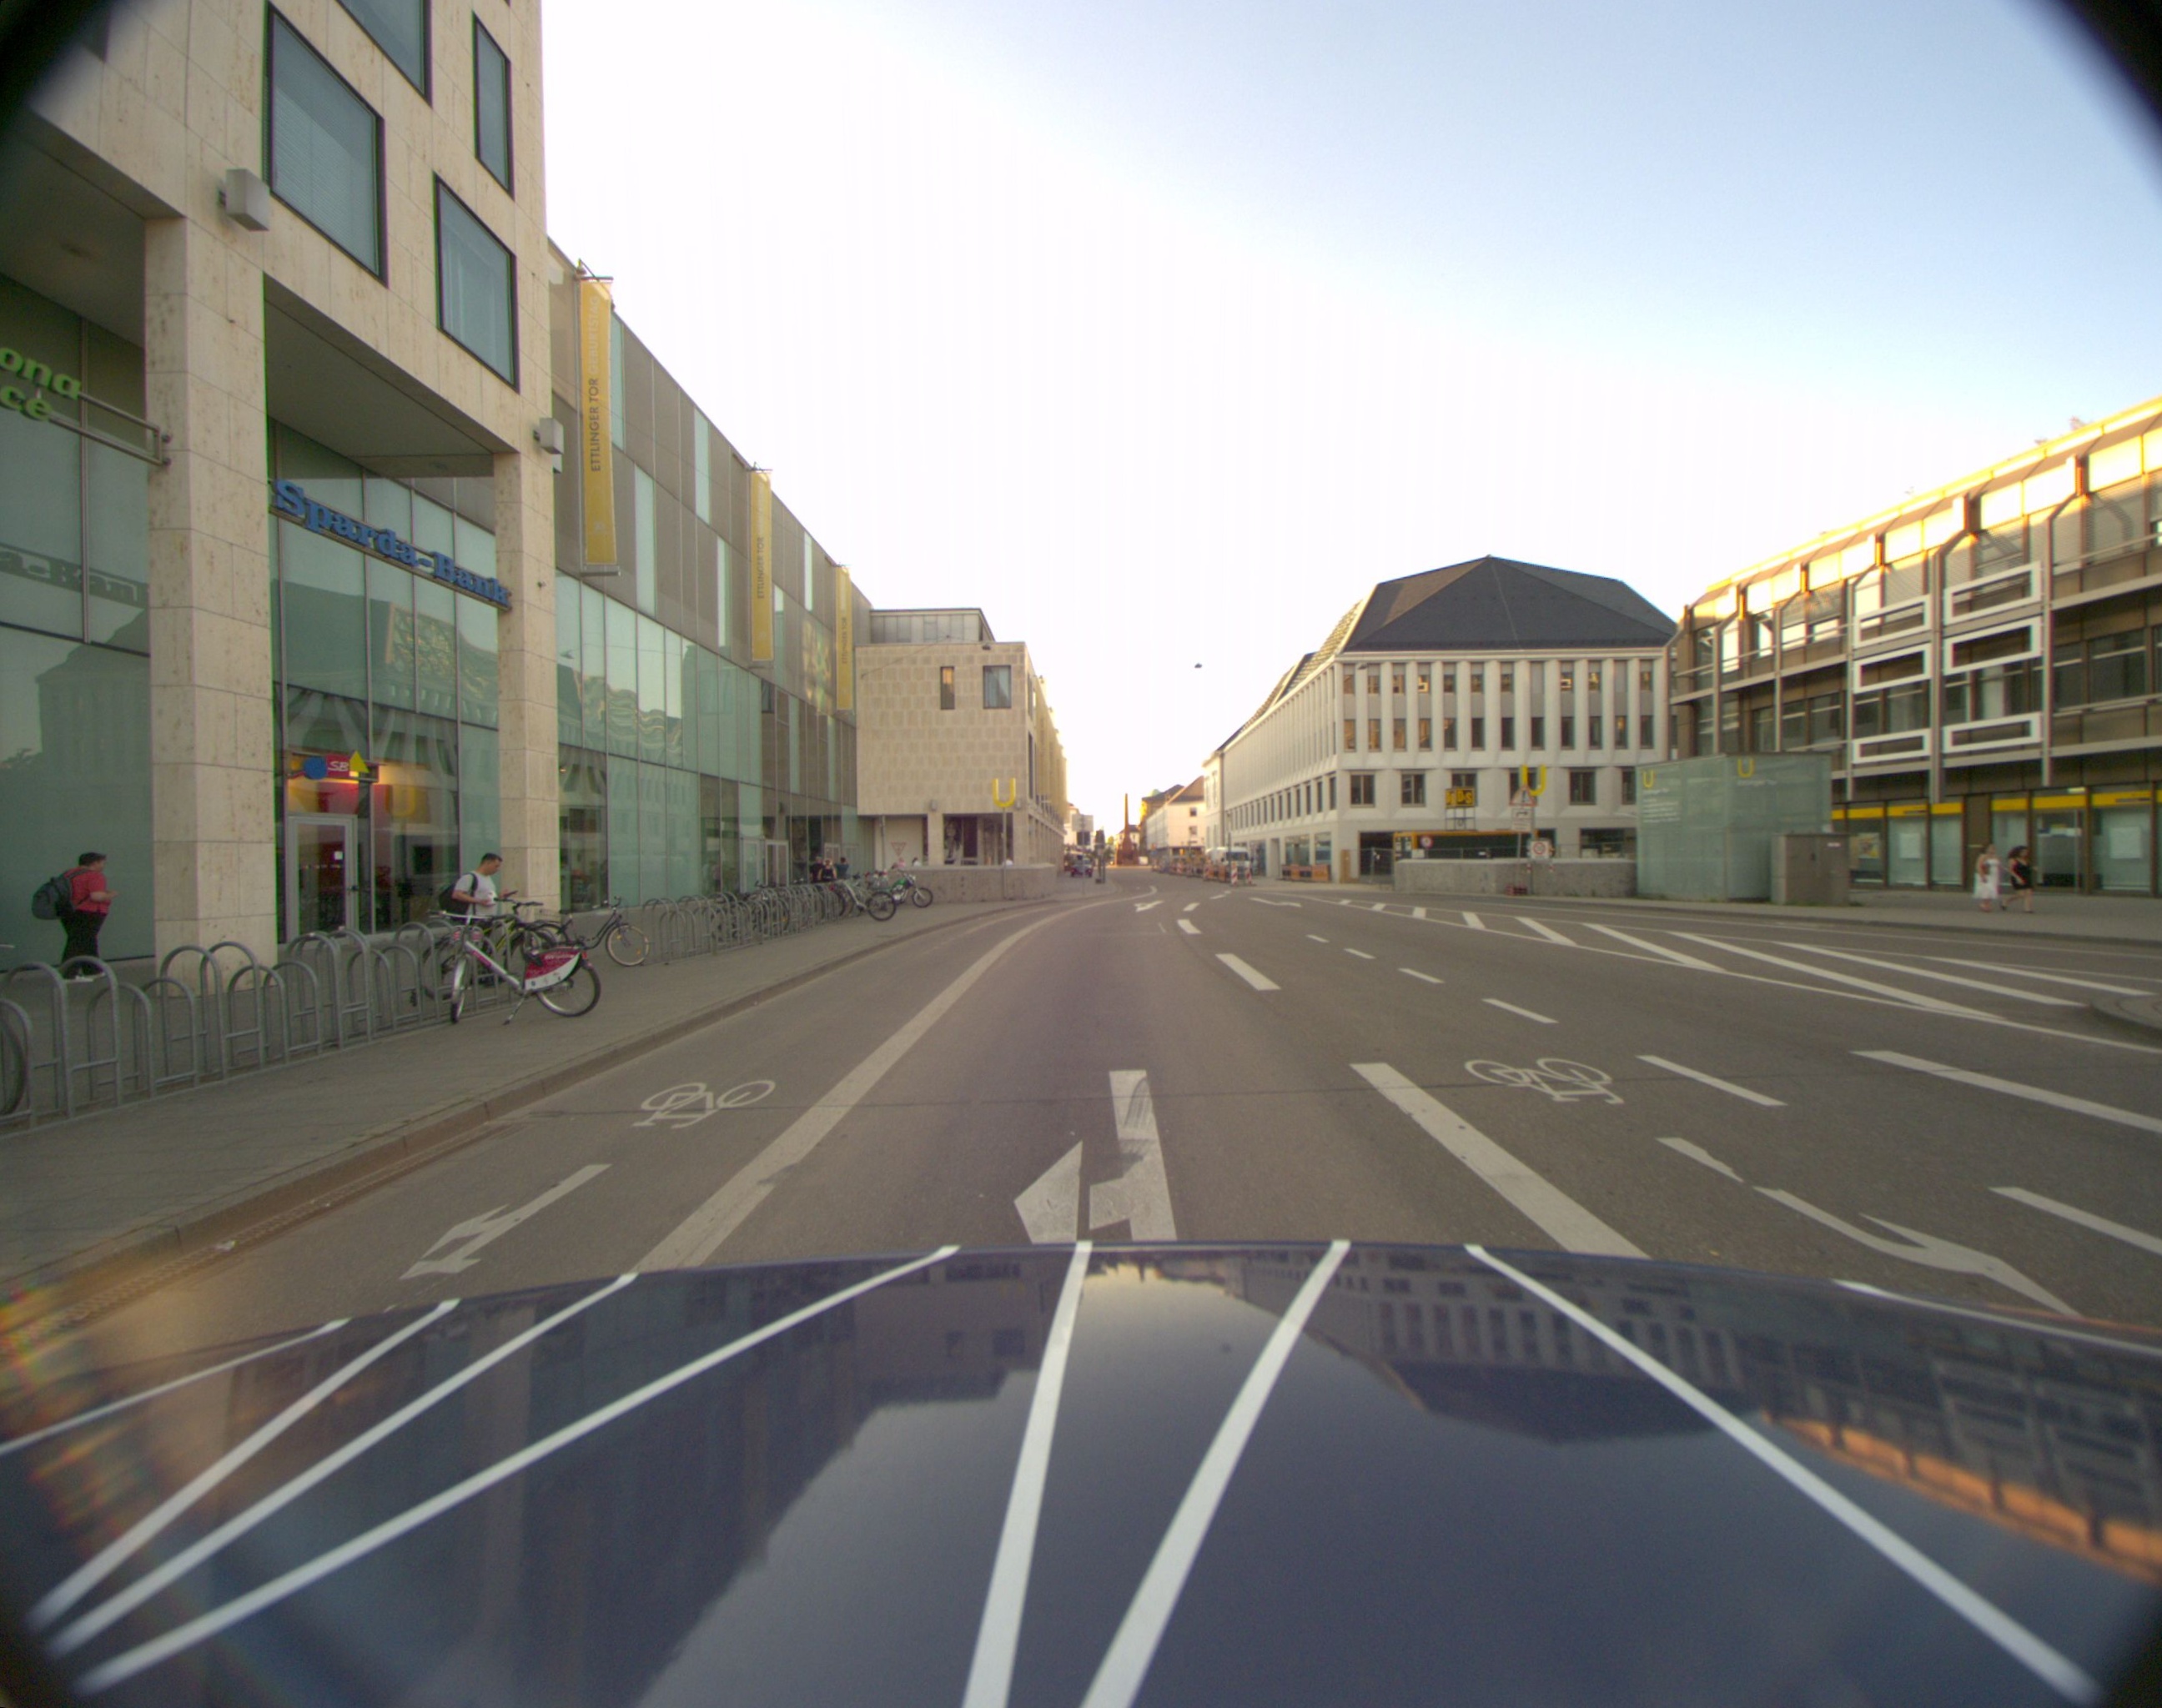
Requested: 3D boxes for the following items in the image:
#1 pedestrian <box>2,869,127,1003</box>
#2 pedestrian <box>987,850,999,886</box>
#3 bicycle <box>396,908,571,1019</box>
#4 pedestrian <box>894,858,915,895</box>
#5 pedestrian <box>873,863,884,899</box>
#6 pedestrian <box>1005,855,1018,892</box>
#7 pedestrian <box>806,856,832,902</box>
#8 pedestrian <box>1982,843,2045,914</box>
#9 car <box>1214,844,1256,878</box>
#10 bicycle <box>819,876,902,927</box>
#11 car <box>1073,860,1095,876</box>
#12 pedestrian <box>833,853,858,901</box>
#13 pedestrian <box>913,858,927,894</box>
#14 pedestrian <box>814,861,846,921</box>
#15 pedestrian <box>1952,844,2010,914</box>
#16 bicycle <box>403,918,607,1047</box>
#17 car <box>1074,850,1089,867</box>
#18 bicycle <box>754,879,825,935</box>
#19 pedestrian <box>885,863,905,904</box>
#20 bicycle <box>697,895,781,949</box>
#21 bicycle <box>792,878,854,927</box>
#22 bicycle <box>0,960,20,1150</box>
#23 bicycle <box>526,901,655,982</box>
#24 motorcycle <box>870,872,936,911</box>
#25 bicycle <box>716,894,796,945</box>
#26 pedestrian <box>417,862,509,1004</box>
[{"bbox_3d":[-13.002,1.023,9.741,0.629,1.642,0.708,-1,0,2],"label":"pedestrian"},{"bbox_3d":[-4.279,0.671,36.913,0.454,1.733,0.493,-1,0,3],"label":"pedestrian"},{"bbox_3d":[-6.766,1.226,8.641,1.518,1.117,0.581,-3,0,4],"label":"bicycle"},{"bbox_3d":[-8.494,1.083,36.555,0.793,1.733,0.657,-1,0,3],"label":"pedestrian"},{"bbox_3d":[-9.635,1.275,36.200,0.364,1.733,0.452,-1,0,3],"label":"pedestrian"},{"bbox_3d":[-3.257,0.911,35.769,0.516,1.733,0.493,-1,0,3],"label":"pedestrian"},{"bbox_3d":[-9.405,0.880,27.309,0.741,1.638,0.819,-1,0,-11],"label":"pedestrian"},{"bbox_3d":[21.774,0.560,17.758,0.616,1.629,0.703,-1,0,1],"label":"pedestrian"},{"bbox_3d":[11.974,0.525,59.427,2.141,2.540,6.050,-1,0,1],"label":"car"},{"bbox_3d":[-5.367,1.154,18.569,1.838,1.140,0.466,-3,0,1],"label":"bicycle"},{"bbox_3d":[0.310,1.221,67.958,1.798,1.365,3.671,-1,0,2],"label":"car"},{"bbox_3d":[-8.561,0.823,27.623,0.698,1.686,0.820,-1,0,-6],"label":"pedestrian"},{"bbox_3d":[-7.806,1.052,36.867,0.494,1.733,0.657,-1,0,3],"label":"pedestrian"},{"bbox_3d":[-7.022,1.013,21.251,0.809,1.633,0.646,-1,0,-18],"label":"pedestrian"},{"bbox_3d":[21.109,0.578,17.836,0.670,1.629,0.584,-1,0,1],"label":"pedestrian"},{"bbox_3d":[-5.365,1.186,7.116,1.518,1.057,0.466,-3,0,1],"label":"bicycle"},{"bbox_3d":[0.101,0.575,100.824,1.798,2.198,3.671,-1,0,2],"label":"car"},{"bbox_3d":[-6.635,1.201,17.326,1.345,1.157,0.518,-3,0,-1],"label":"bicycle"},{"bbox_3d":[-8.062,1.267,32.997,0.619,1.770,0.812,-1,0,3],"label":"pedestrian"},{"bbox_3d":[-6.628,1.308,14.752,1.345,0.927,0.518,-3,0,-1],"label":"bicycle"},{"bbox_3d":[-6.581,1.227,19.412,1.345,1.157,0.518,-3,0,-1],"label":"bicycle"},{"bbox_3d":[-7.098,1.220,4.222,1.519,1.099,0.552,-3,0,-2],"label":"bicycle"},{"bbox_3d":[-7.273,1.281,11.321,1.447,1.058,0.580,-3,0,-10],"label":"bicycle"},{"bbox_3d":[-5.692,1.201,24.334,2.007,1.217,0.480,-1,0,-3],"label":"motorcycle"},{"bbox_3d":[-6.570,1.317,15.398,1.345,0.927,0.518,-3,0,-1],"label":"bicycle"},{"bbox_3d":[-7.697,0.947,9.499,0.709,1.682,0.628,-1,0,-21],"label":"pedestrian"}]
